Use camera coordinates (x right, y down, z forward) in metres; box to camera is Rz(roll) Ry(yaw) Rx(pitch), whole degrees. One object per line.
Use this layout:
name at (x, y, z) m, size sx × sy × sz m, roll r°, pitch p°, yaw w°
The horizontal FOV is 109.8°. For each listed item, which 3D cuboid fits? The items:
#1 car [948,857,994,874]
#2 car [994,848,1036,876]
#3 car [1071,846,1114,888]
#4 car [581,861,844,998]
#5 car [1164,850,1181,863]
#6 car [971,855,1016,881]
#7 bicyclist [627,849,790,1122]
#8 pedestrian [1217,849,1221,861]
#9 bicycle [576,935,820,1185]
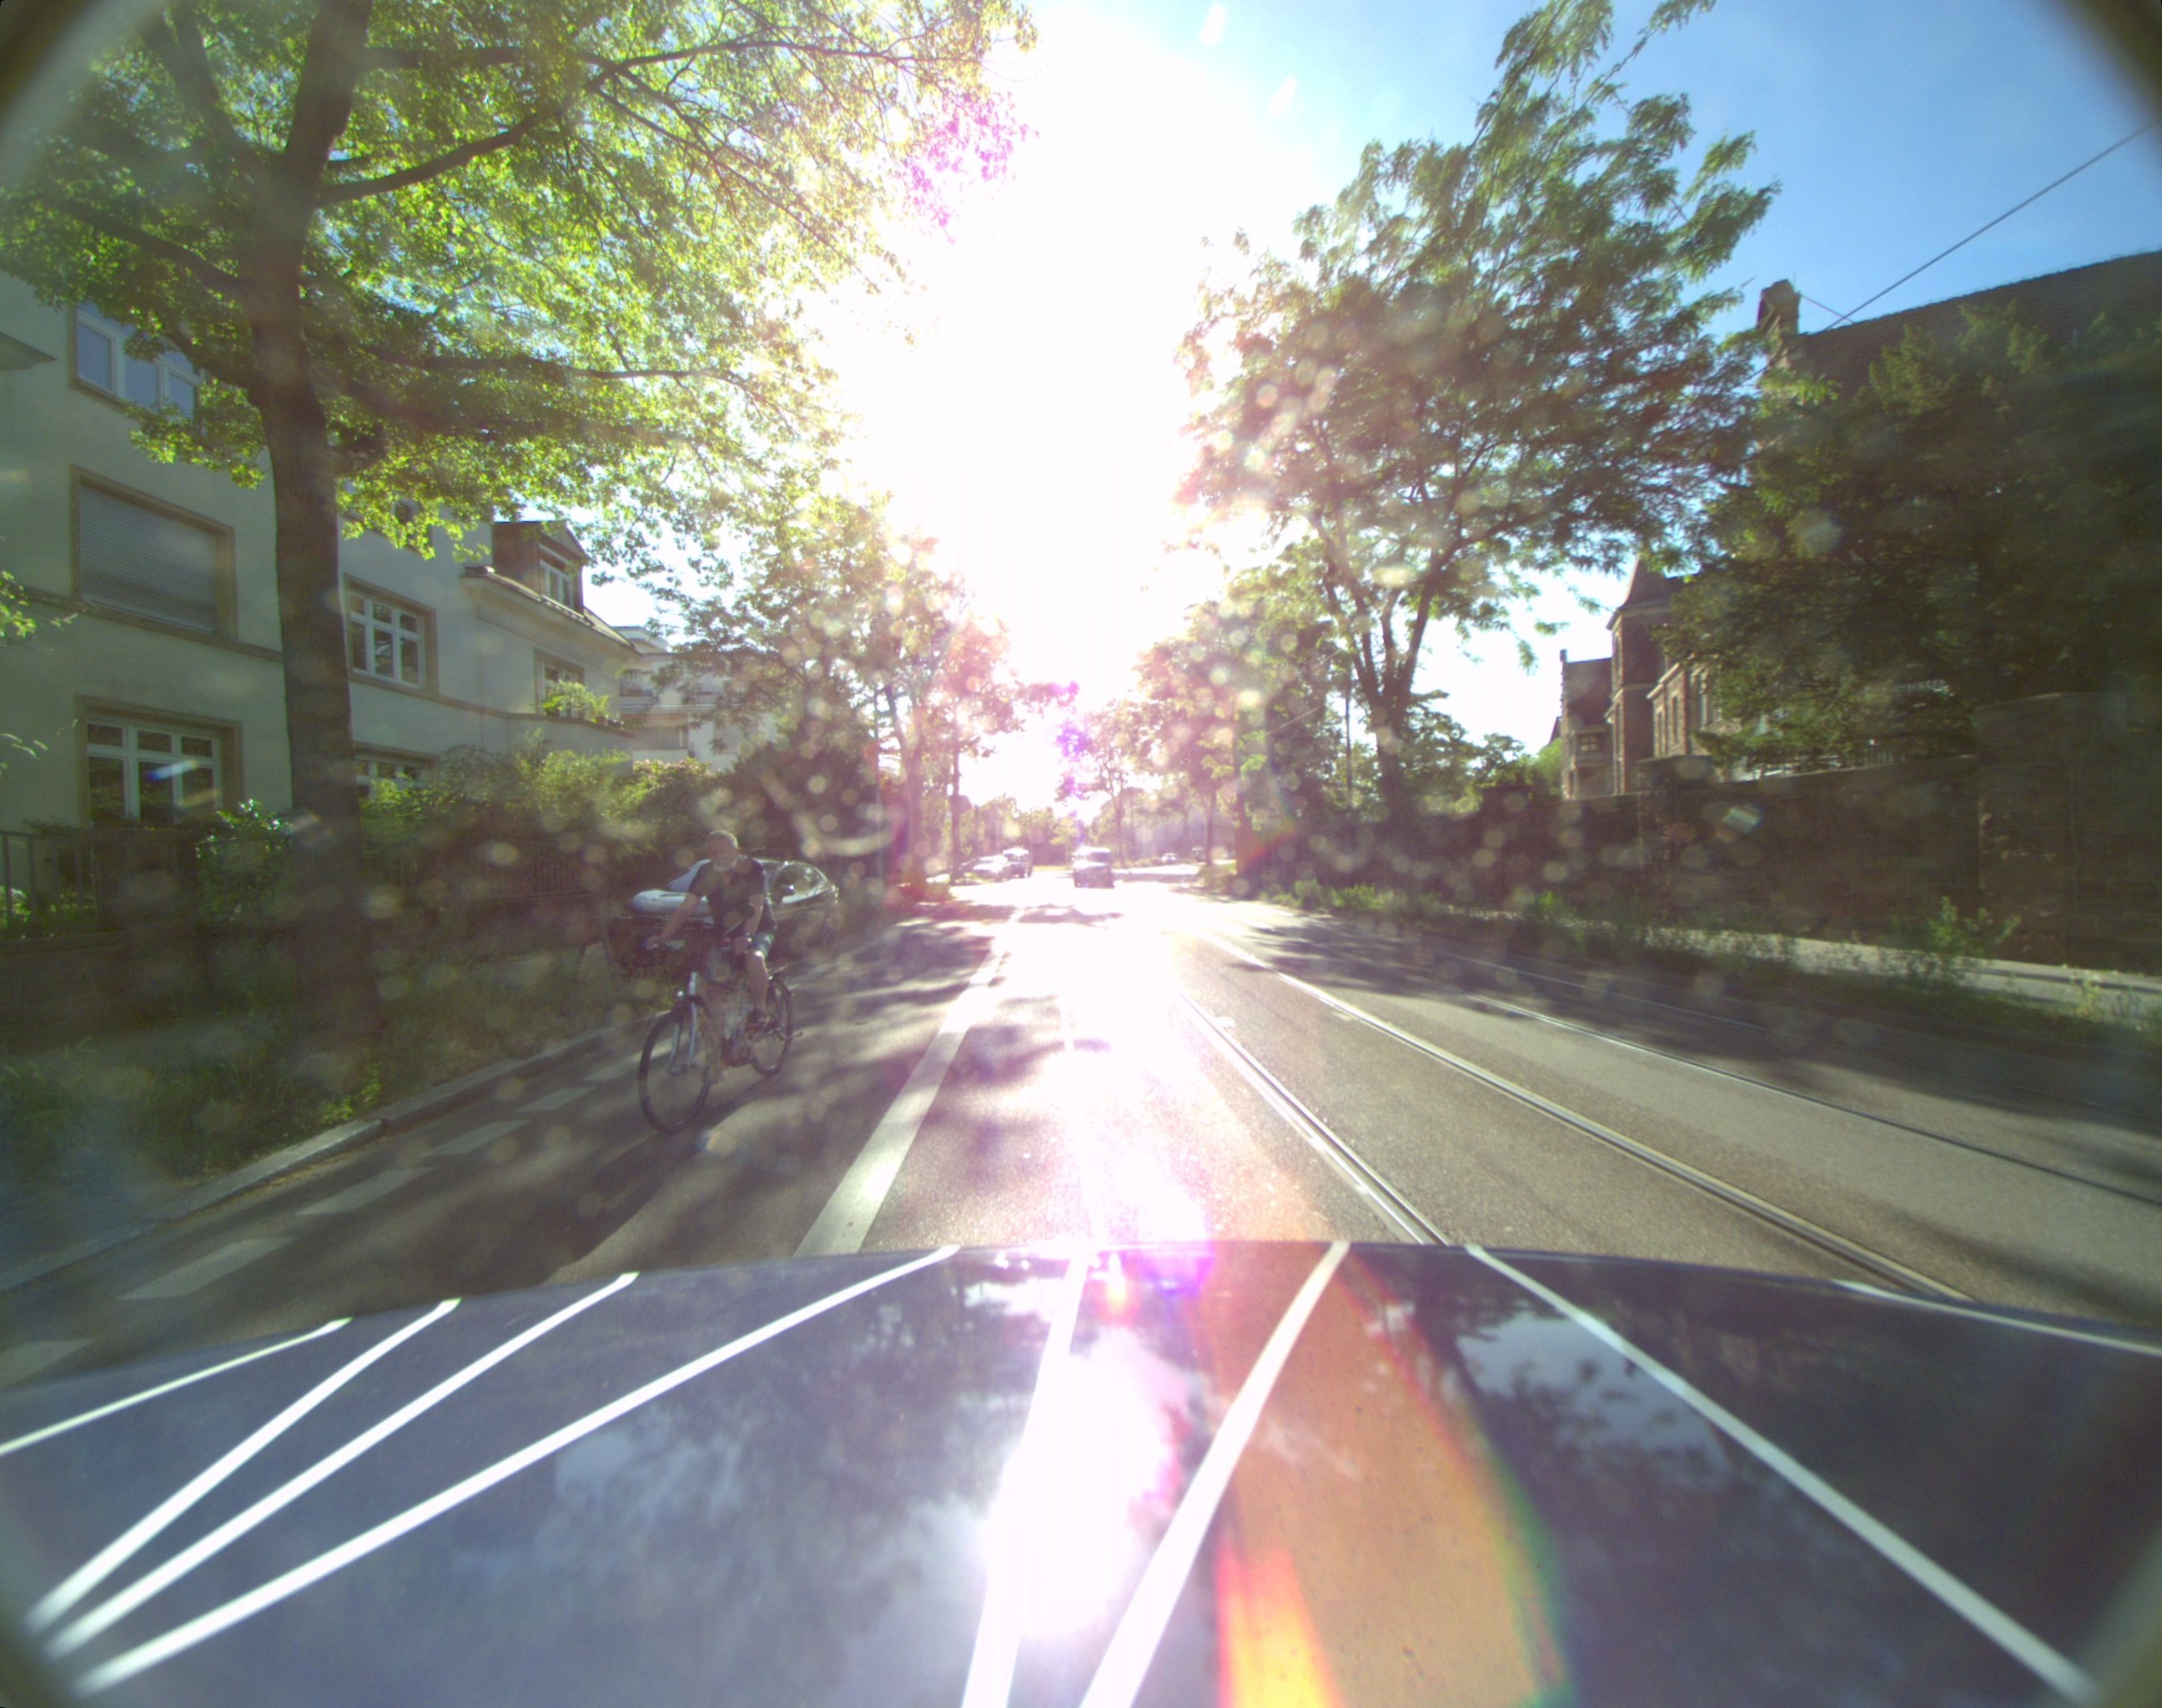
car at (-10.056, 1.046, 69.534) m, size 3.998 × 1.433 × 1.813 m, roll -2°, pitch 0°, yaw -3°
car at (-4.415, 0.508, 51.685) m, size 1.900 × 1.775 × 4.670 m, roll -1°, pitch 0°, yaw 6°
car at (0.547, 0.577, 36.686) m, size 1.877 × 1.805 × 4.967 m, roll -1°, pitch 0°, yaw 1°
car at (-5.207, 0.951, 11.503) m, size 1.919 × 1.590 × 4.258 m, roll 2°, pitch 0°, yaw -1°
car at (11.898, 0.321, 98.718) m, size 1.997 × 1.539 × 4.002 m, roll -2°, pitch 0°, yaw 8°
car at (-5.177, 0.796, 45.329) m, size 1.901 × 1.402 × 4.260 m, roll -1°, pitch 0°, yaw 4°
bicyclist at (-2.378, 0.795, 4.929) m, size 0.644 × 1.632 × 0.665 m, roll -2°, pitch 1°, yaw 1°
pedestrian at (21.173, 0.193, 116.940) m, size 0.524 × 1.823 × 0.587 m, roll -1°, pitch 1°, yaw 15°
bicycle at (-2.346, 1.190, 4.950) m, size 0.588 × 1.105 × 1.855 m, roll -2°, pitch 0°, yaw 1°
